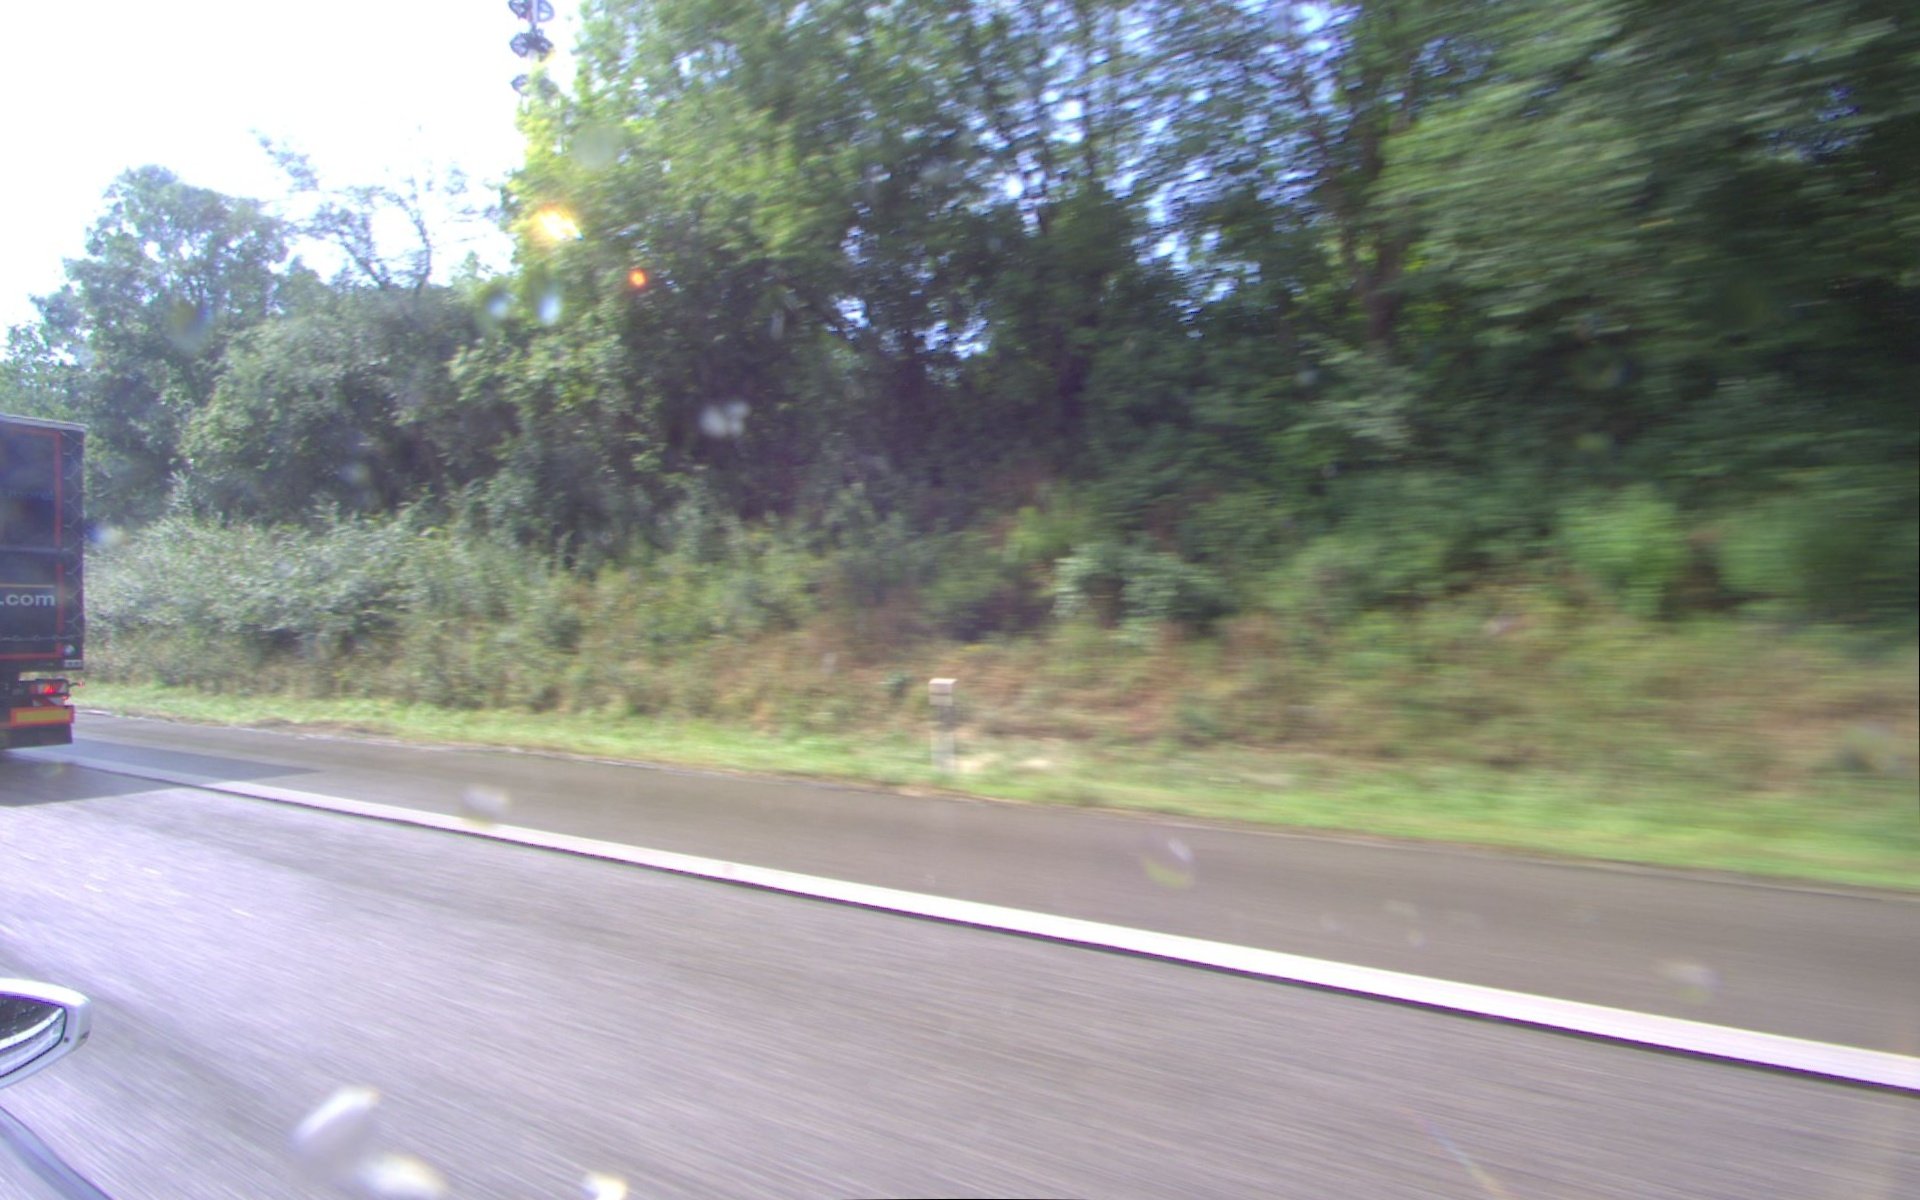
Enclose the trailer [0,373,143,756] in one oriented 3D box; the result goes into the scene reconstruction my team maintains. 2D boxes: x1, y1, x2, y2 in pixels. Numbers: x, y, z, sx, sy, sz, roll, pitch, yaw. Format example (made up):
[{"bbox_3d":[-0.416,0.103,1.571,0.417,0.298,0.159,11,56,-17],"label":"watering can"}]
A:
[{"bbox_3d":[-16.955,-0.280,14.932,13.902,4.368,3.083,-1,-1,32],"label":"trailer"}]
